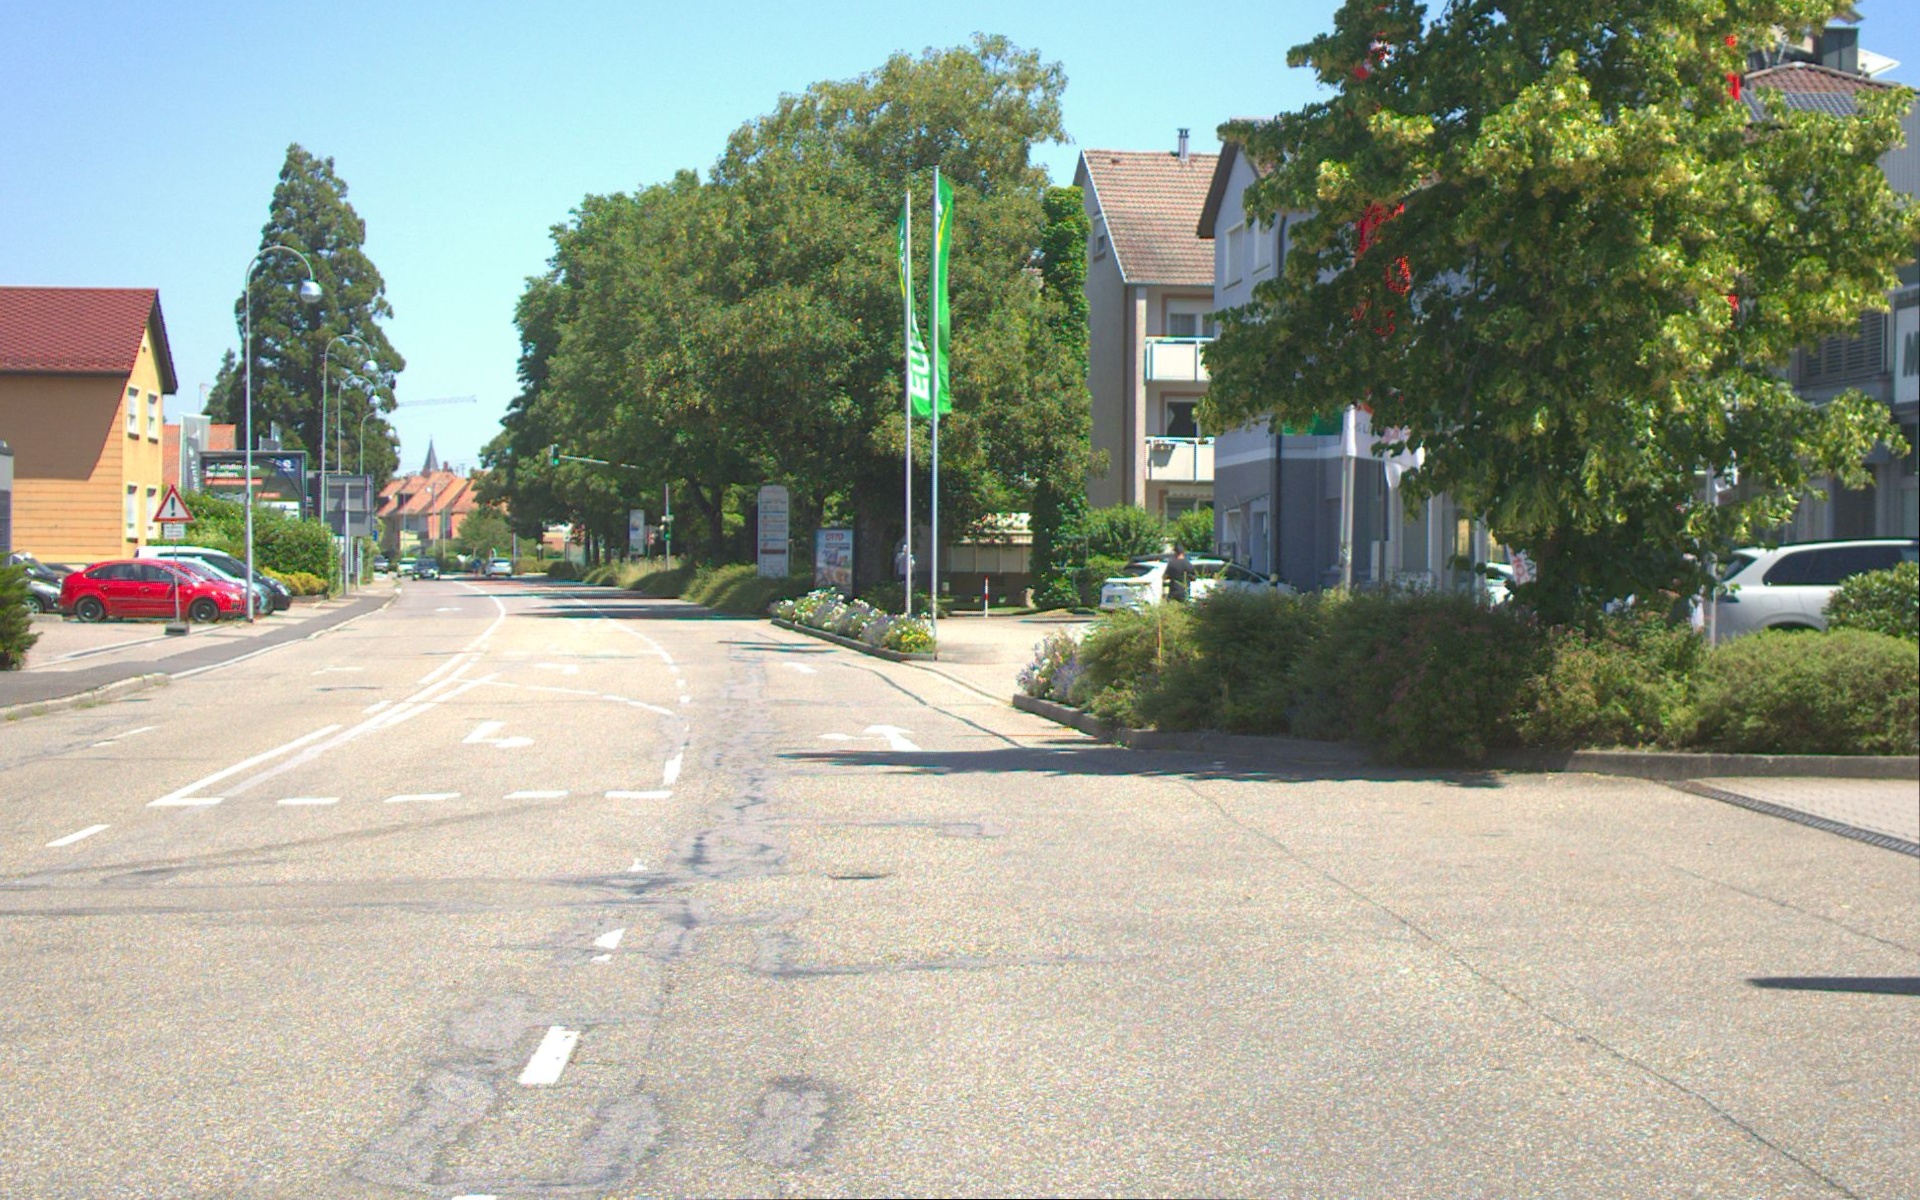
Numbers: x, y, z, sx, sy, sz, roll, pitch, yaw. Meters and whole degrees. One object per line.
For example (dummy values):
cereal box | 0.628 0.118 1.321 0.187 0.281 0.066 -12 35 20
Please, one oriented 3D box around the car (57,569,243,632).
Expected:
car | -19.093 0.005 81.184 4.125 1.439 1.827 0 0 -8

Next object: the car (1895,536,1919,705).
car | 10.380 0.154 30.226 3.988 1.455 1.805 0 0 9

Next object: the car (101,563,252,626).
car | -20.104 -0.149 88.310 3.663 1.575 1.923 0 0 -9

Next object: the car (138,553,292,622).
car | -20.518 -0.351 94.803 4.092 1.891 2.001 0 0 -11

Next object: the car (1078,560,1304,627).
car | 4.836 -0.150 71.886 4.343 1.366 1.956 0 0 -29

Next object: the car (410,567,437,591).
car | -36.036 -1.415 230.772 1.709 1.490 4.279 0 1 -8

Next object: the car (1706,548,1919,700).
car | 10.578 0.253 37.924 4.584 1.636 1.999 0 0 12

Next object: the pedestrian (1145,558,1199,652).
pedestrian | 3.707 0.087 60.081 0.840 1.635 1.010 0 0 -2

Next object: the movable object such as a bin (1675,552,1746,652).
movable object such as a bin | 11.192 0.024 51.280 0.853 1.440 0.702 -3 0 1

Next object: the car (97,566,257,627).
car | -18.953 -0.093 83.382 3.663 1.452 1.893 0 0 -9

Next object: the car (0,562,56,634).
car | -23.711 -0.042 82.603 3.663 1.703 1.893 0 0 -9
